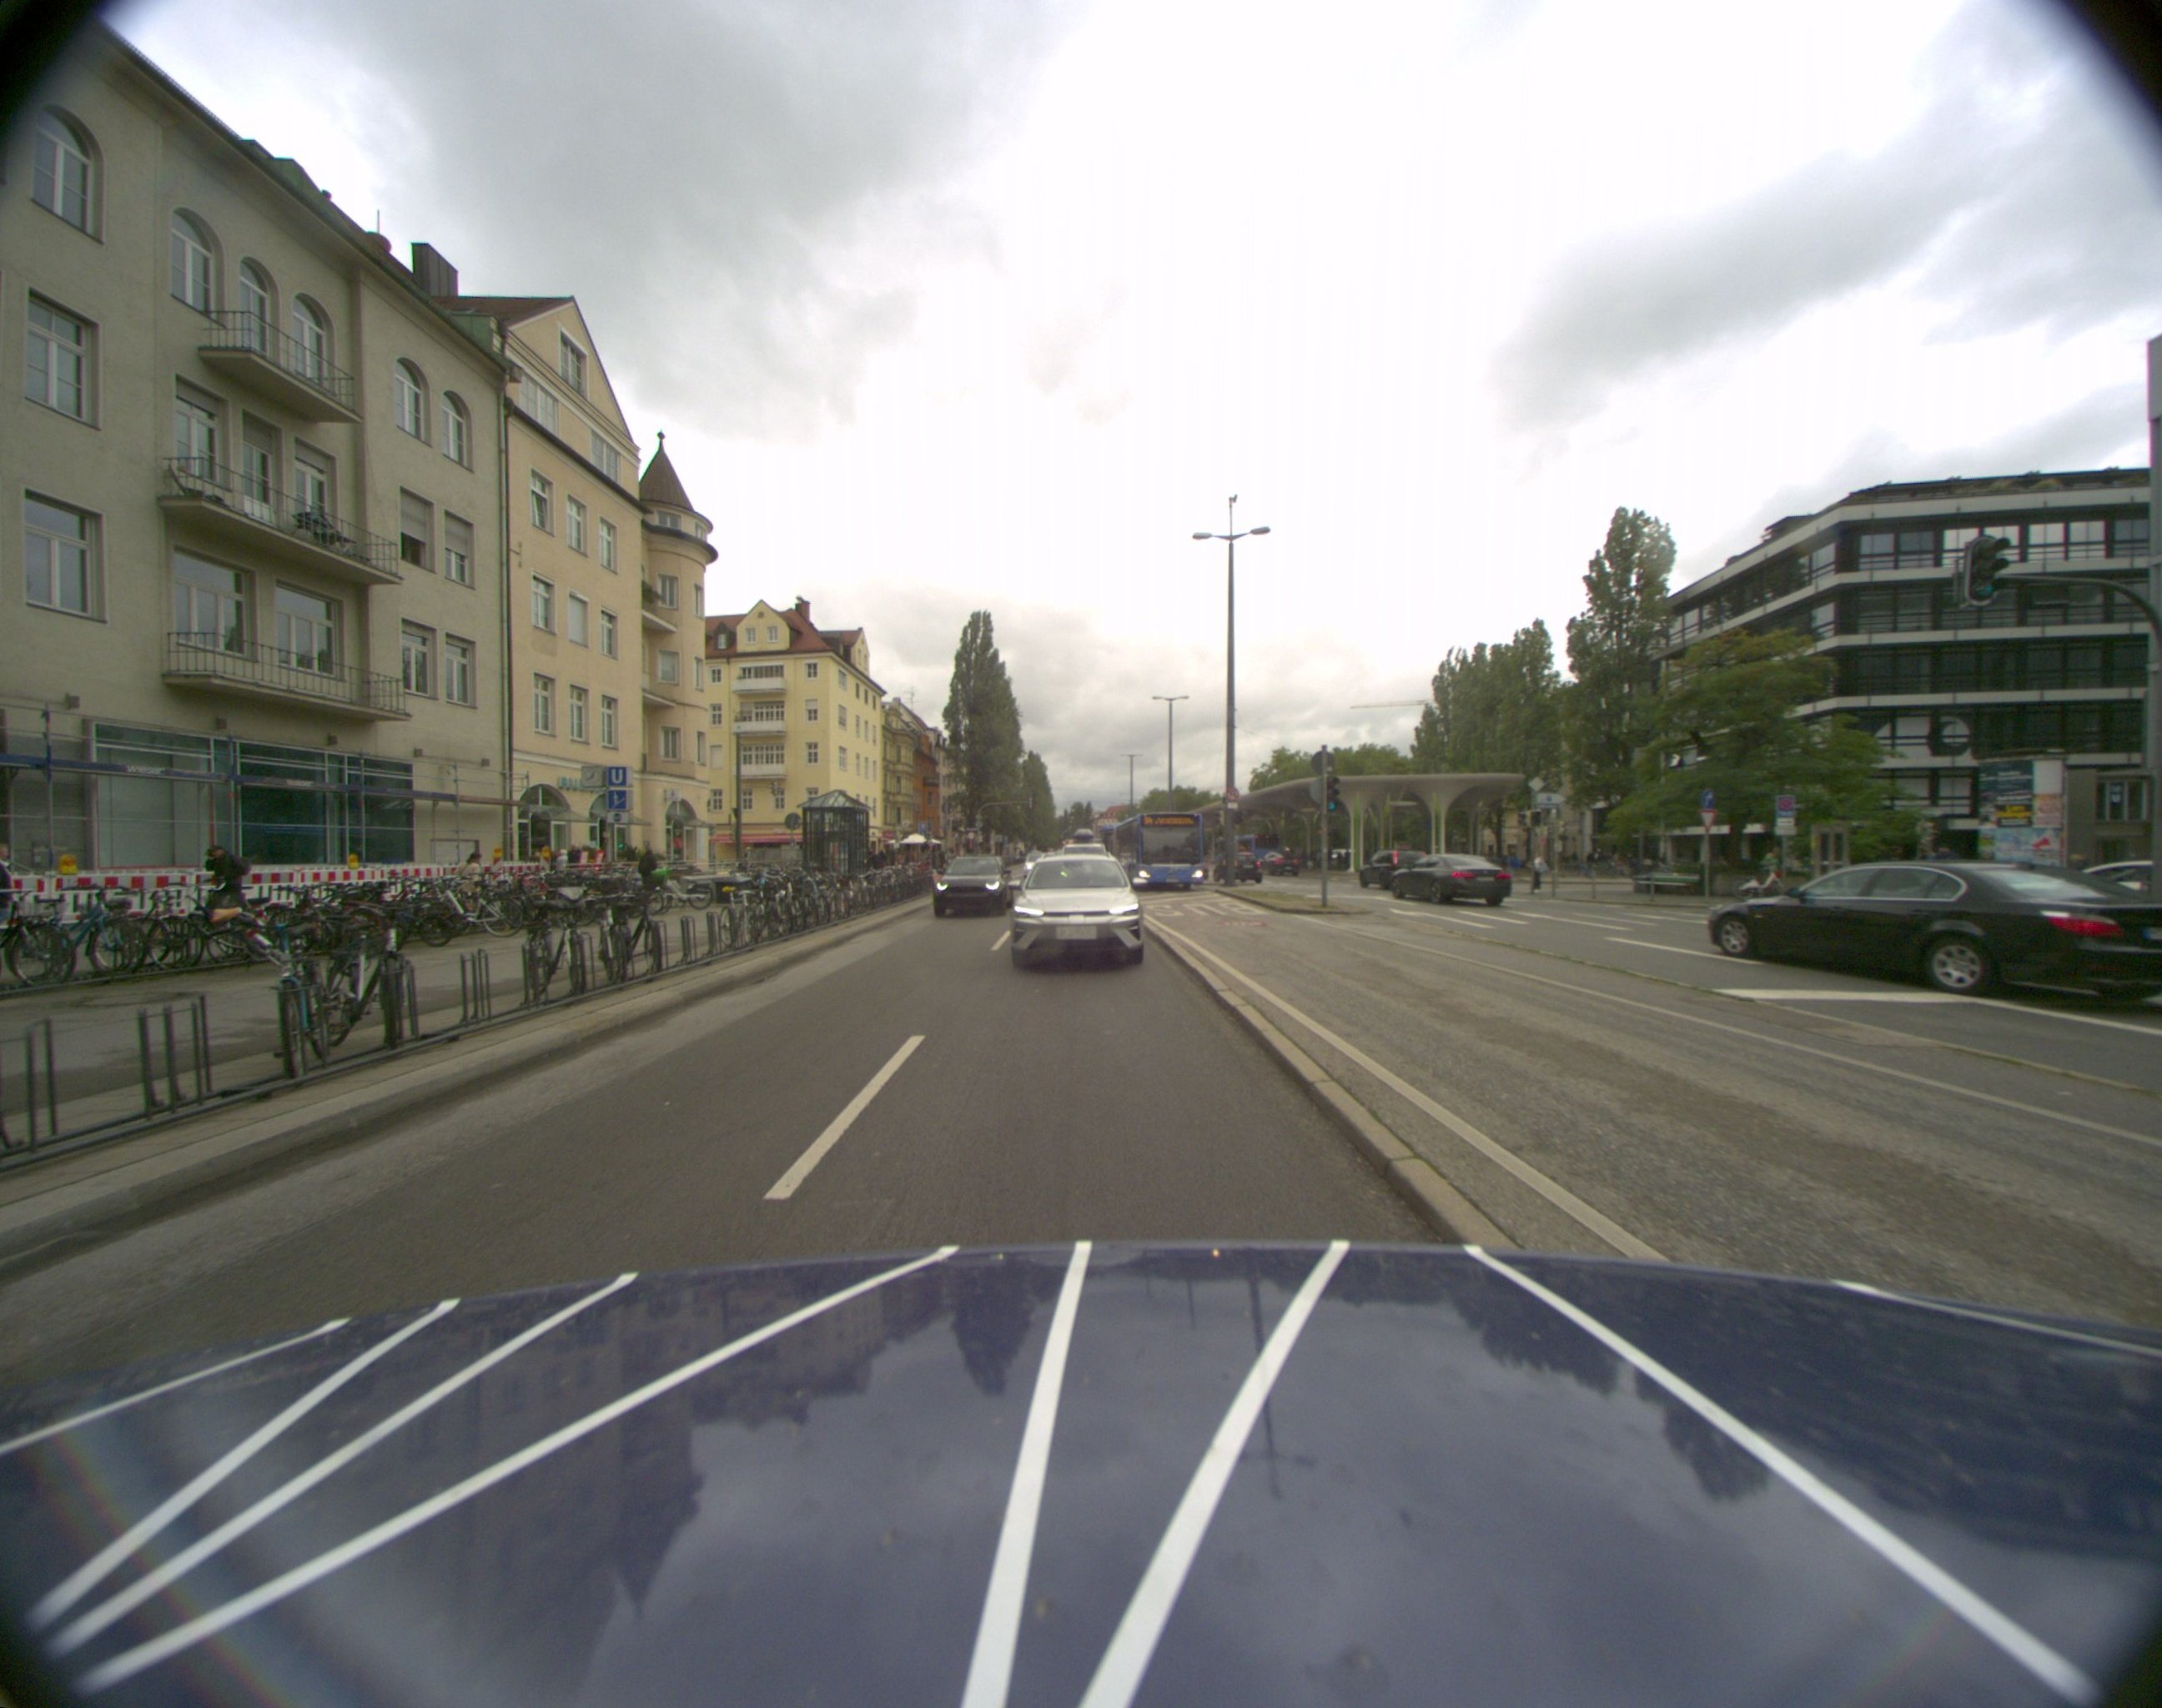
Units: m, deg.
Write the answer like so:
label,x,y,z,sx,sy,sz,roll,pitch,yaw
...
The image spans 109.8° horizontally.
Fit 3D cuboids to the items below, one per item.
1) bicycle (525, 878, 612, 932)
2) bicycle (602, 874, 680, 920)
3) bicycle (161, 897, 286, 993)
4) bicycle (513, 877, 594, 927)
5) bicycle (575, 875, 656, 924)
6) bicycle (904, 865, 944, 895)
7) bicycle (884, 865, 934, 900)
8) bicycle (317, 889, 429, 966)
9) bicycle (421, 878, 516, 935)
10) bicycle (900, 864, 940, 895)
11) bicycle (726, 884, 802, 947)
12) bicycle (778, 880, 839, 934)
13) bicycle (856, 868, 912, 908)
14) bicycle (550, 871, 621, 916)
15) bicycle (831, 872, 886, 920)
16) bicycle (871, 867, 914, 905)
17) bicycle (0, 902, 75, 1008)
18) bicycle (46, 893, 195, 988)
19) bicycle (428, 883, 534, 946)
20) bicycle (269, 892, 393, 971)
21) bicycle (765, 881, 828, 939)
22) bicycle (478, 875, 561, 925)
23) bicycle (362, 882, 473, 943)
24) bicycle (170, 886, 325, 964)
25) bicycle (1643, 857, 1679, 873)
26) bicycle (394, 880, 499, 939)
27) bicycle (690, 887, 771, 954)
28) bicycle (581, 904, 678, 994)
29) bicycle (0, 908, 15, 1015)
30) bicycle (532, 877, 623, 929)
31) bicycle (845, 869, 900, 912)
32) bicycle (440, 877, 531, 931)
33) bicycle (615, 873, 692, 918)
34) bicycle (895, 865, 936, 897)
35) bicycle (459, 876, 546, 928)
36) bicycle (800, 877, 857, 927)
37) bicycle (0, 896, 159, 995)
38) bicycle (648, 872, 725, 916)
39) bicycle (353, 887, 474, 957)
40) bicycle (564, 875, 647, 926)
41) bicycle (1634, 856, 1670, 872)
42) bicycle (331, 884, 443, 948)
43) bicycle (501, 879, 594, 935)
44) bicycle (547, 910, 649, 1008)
label,x,y,z,sx,sy,sz,roll,pitch,yaw
bicycle,-10.616,1.046,15.758,1.528,1.071,0.410,1,1,-1
bicycle,-10.549,1.026,18.238,1.605,1.071,0.410,1,1,-1
bicycle,-10.633,1.104,9.419,1.471,1.071,0.410,1,1,16
bicycle,-11.977,1.086,17.265,1.530,1.071,0.410,1,1,-1
bicycle,-10.775,1.045,17.606,1.625,1.071,0.410,1,1,-1
bicycle,-5.878,0.988,28.426,1.848,1.053,0.398,-4,-1,43
bicycle,-5.676,0.929,25.035,1.780,1.131,0.479,-1,1,35
bicycle,-10.709,1.099,11.496,1.451,1.071,0.410,1,1,8
bicycle,-12.114,1.035,15.051,1.453,1.071,0.410,1,1,-8
bicycle,-5.846,0.944,27.521,1.848,1.053,0.398,-4,-1,43
bicycle,-5.729,1.115,13.679,1.797,1.053,0.398,-4,-1,39
bicycle,-5.679,1.103,15.788,0.398,1.053,1.848,-3,-1,-44
bicycle,-5.887,0.983,22.643,1.790,1.131,0.591,-1,1,36
bicycle,-12.189,0.965,18.708,1.452,1.071,0.410,1,1,-5
bicycle,-5.651,1.043,19.255,1.790,1.131,0.490,-1,2,45
bicycle,-5.810,0.966,23.360,1.521,1.131,0.349,-1,1,36
bicycle,-12.140,1.091,8.366,1.632,1.097,0.410,1,1,2
bicycle,-12.174,1.078,9.639,1.631,1.097,0.410,1,1,9
bicycle,-10.566,1.058,13.401,1.453,1.071,0.410,1,1,-8
bicycle,-10.865,1.113,11.022,1.481,1.071,0.410,1,1,5
bicycle,-5.671,1.111,15.084,0.398,1.053,1.848,-3,-1,-44
bicycle,-12.338,1.008,16.720,1.453,1.071,0.410,1,1,-8
bicycle,-12.026,1.057,13.797,1.536,1.071,0.410,1,1,-8
bicycle,-12.341,1.040,11.279,1.634,1.097,0.410,1,1,-9
bicycle,41.371,0.751,54.226,2.073,1.127,0.561,0,1,6
bicycle,-12.000,1.045,14.395,1.536,1.071,0.410,1,1,-8
bicycle,-5.693,1.072,12.292,1.797,1.004,0.387,-4,-1,39
bicycle,-5.616,1.147,9.406,1.797,1.004,0.387,-4,-1,39
bicycle,-11.981,1.109,7.808,1.632,1.097,0.410,1,1,5
bicycle,-10.832,1.048,16.365,1.661,1.071,0.410,1,1,-1
bicycle,-5.867,1.008,21.339,1.790,1.131,0.490,-1,1,39
bicycle,-12.220,1.027,15.611,1.453,1.071,0.410,1,1,-8
bicycle,-10.501,1.016,18.690,1.655,1.071,0.410,1,1,-1
bicycle,-5.870,0.957,26.903,1.848,1.053,0.398,-4,-1,43
bicycle,-12.344,1.018,16.226,1.453,1.071,0.410,1,1,-8
bicycle,-5.742,1.090,17.194,0.398,1.053,1.848,-3,-1,-44
bicycle,-12.024,1.074,9.051,1.632,1.097,0.410,1,1,2
bicycle,-10.245,1.017,19.782,0.409,1.071,1.765,2,2,40
bicycle,-10.665,1.073,12.169,1.453,1.071,0.410,1,1,-8
bicycle,-10.541,1.021,16.841,1.637,1.071,0.410,1,1,5
bicycle,41.388,0.730,55.064,2.073,1.127,0.561,0,1,6
bicycle,-12.023,1.069,13.186,1.453,1.071,0.410,1,1,-8
bicycle,-10.637,1.058,15.169,1.539,1.071,0.410,1,1,-1
bicycle,-5.546,1.165,8.681,1.797,1.004,0.387,-4,-1,39
